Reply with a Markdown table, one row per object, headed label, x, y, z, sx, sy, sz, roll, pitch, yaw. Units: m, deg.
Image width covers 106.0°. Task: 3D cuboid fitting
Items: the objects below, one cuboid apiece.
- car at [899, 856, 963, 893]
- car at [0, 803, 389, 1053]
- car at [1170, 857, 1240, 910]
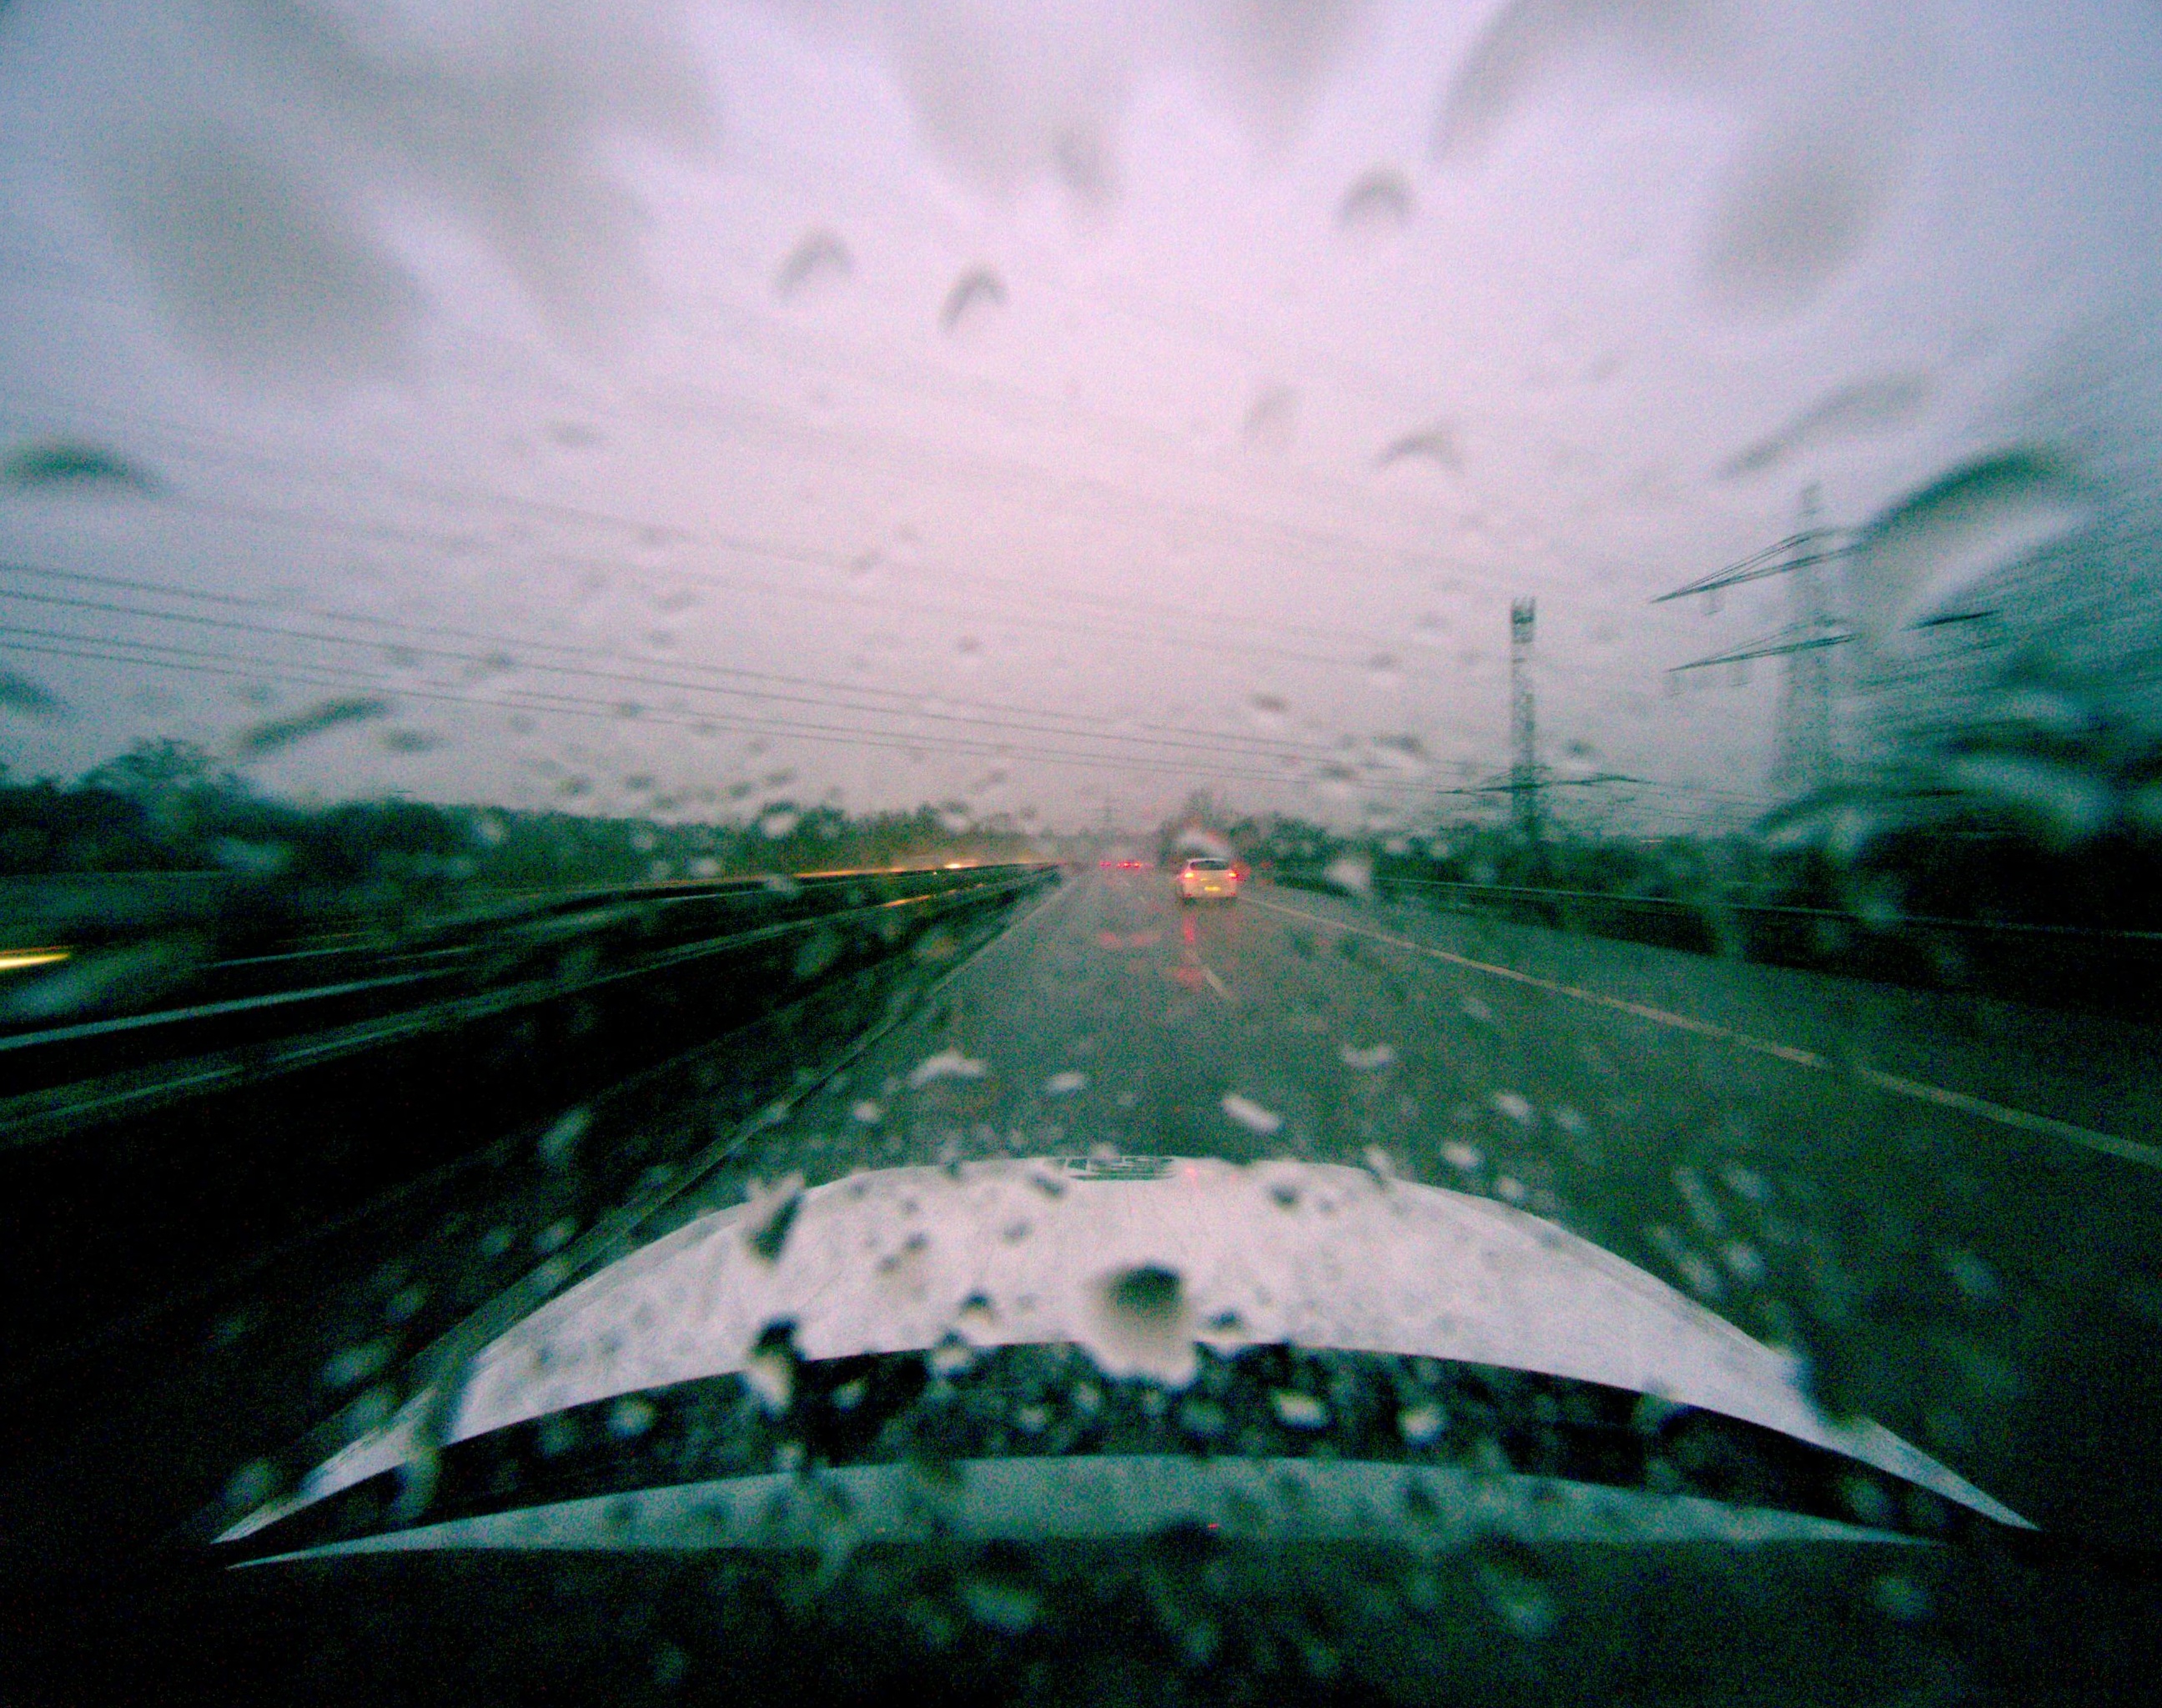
| label | x | y | z | sx | sy | sz | roll | pitch | yaw |
| --- | --- | --- | --- | --- | --- | --- | --- | --- | --- |
| car | -6.587 | 0.866 | 36.204 | 1.986 | 1.510 | 4.001 | -1 | 0 | 1 |
| car | -10.147 | 0.647 | 8.259 | 2.063 | 2.114 | 4.764 | -1 | 0 | 2 |
| car | 4.113 | 0.930 | 27.493 | 1.839 | 1.636 | 3.769 | -1 | 0 | 1 |
